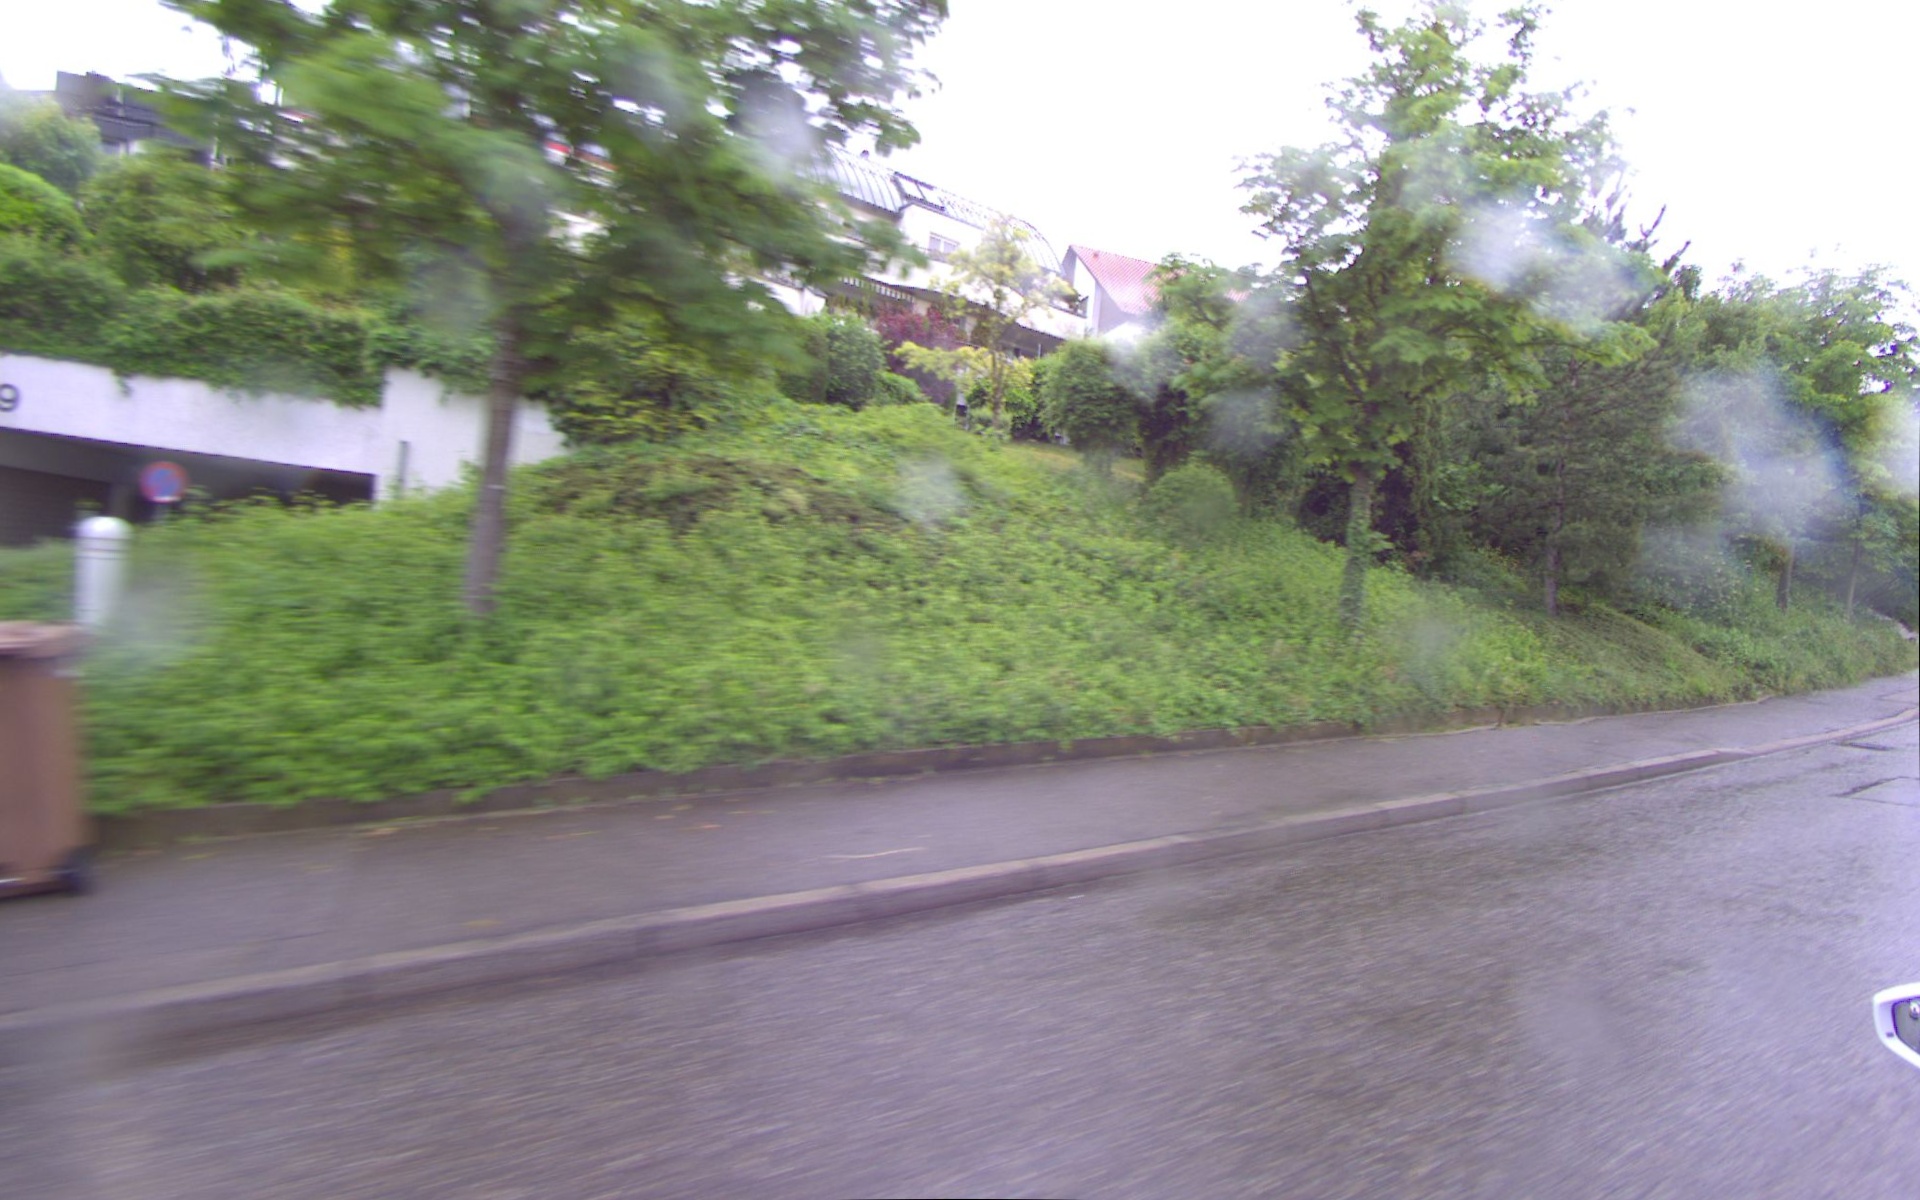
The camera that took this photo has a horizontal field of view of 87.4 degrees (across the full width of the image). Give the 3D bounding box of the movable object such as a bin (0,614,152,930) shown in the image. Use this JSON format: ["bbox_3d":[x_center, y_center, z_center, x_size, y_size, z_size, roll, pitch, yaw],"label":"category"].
[{"bbox_3d":[-3.795,0.652,3.939,0.793,1.105,0.691,-3,5,-27],"label":"movable object such as a bin"}]
